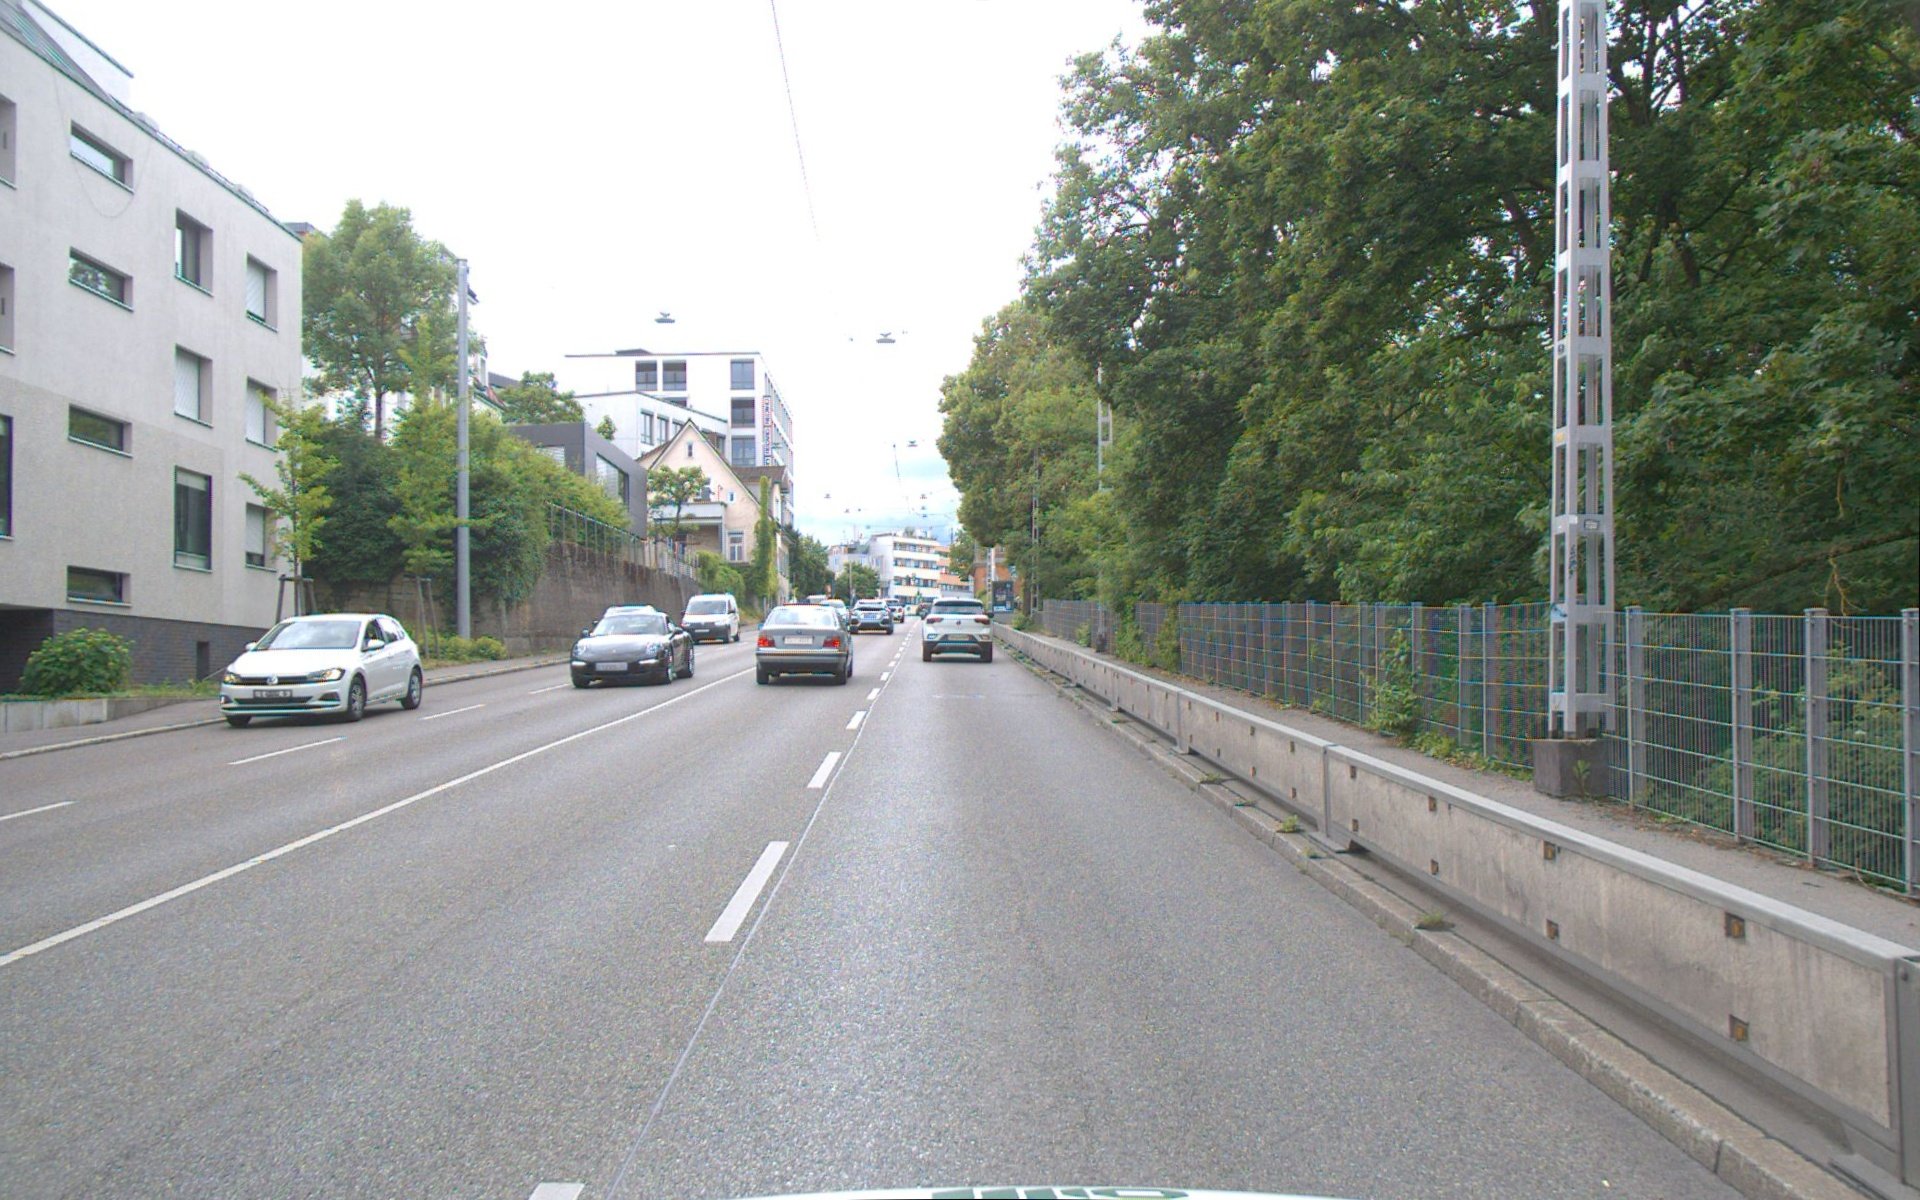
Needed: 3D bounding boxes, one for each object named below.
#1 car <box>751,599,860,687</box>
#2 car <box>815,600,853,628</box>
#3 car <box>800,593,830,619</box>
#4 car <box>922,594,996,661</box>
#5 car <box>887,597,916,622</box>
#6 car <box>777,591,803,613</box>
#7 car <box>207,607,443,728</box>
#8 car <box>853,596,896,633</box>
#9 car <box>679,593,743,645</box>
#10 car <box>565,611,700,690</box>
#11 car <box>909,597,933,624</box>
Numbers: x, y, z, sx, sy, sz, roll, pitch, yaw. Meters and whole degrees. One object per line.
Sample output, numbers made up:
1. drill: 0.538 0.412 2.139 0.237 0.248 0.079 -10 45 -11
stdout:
1. car: -2.759 0.735 30.292 1.672 1.489 3.999 1 0 -1
2. car: -6.920 0.754 91.487 1.779 1.410 4.461 -3 0 -1
3. car: -10.345 0.442 117.974 1.779 1.815 4.494 -1 0 -1
4. car: -0.073 0.662 41.954 1.744 1.607 3.998 0 0 -2
5. car: -3.541 0.555 100.033 1.672 1.489 3.999 -1 0 -1
6. car: -13.789 0.185 134.425 1.955 1.731 3.996 -1 0 -5
7. car: -8.824 0.876 23.380 1.737 1.489 4.190 -2 0 -1
8. car: -3.571 0.602 69.805 1.672 1.489 3.999 -1 0 -1
9. car: -9.343 0.698 62.408 1.697 1.819 4.866 -2 0 -1
10. car: -6.051 0.896 30.982 1.718 1.291 4.190 -2 0 -1
11. car: -2.704 0.721 115.075 1.623 1.796 3.286 0 0 -1
